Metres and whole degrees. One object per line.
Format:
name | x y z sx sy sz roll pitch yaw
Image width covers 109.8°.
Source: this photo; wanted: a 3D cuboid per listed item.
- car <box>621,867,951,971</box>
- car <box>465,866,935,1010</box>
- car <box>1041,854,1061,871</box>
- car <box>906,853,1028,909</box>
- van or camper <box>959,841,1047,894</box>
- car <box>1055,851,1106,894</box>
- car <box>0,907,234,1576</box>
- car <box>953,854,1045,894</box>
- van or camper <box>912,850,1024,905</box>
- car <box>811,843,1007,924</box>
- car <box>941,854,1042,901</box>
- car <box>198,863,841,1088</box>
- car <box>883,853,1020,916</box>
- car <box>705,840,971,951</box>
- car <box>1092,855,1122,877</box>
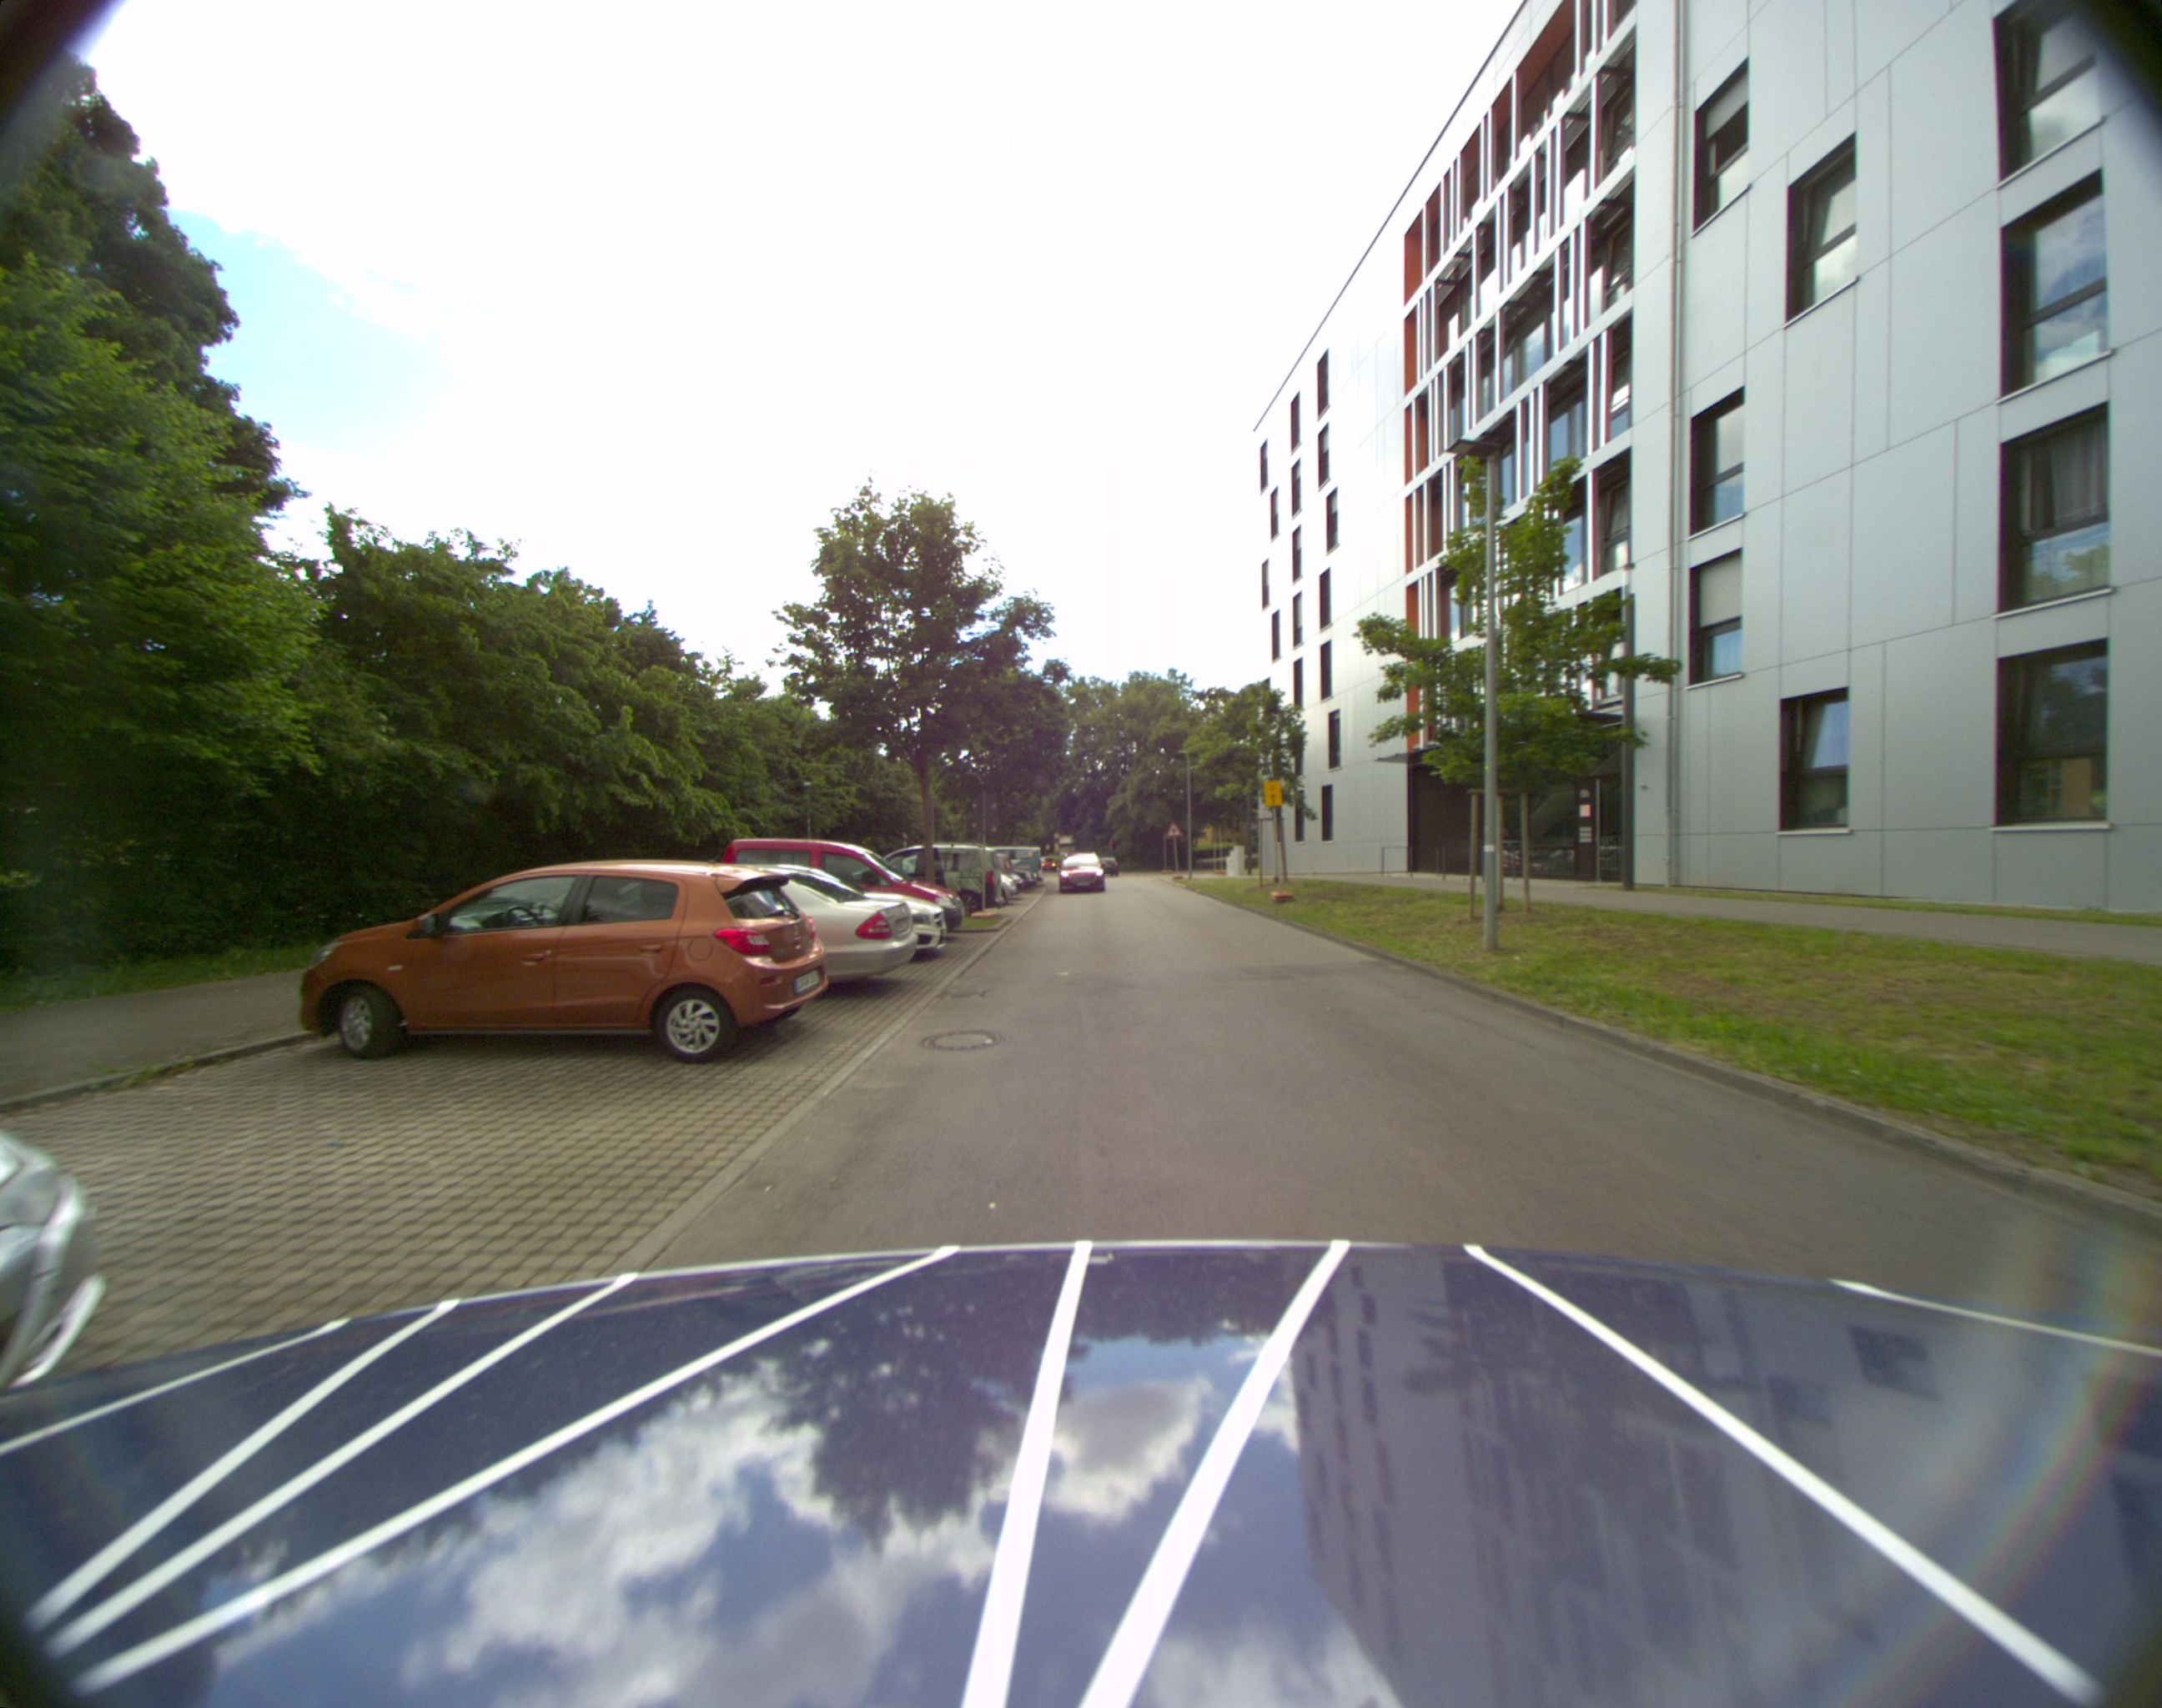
car | -4.276 0.921 11.553 4.292 1.401 1.837 0 0 -2
car | -4.071 0.880 8.734 4.407 1.427 1.944 0 0 0
car | -2.930 0.827 73.422 1.818 1.608 3.998 0 0 -4
car | -3.941 0.917 26.838 3.979 1.722 1.884 -3 0 -2
van or camper | -3.719 0.648 36.856 3.979 2.306 1.884 -3 1 -2
car | -0.002 0.732 32.442 1.933 1.622 4.242 -3 1 0
car | -4.796 0.920 1.289 4.489 1.553 1.911 1 0 -2
car | -3.667 0.898 34.554 3.979 1.594 2.105 -1 3 -2
van or camper | -4.305 0.870 29.393 3.979 1.862 1.728 -3 1 -2
car | -4.245 0.715 19.342 4.562 1.888 1.884 1 0 -2
car | -3.718 0.961 31.997 3.979 1.722 1.884 -3 0 -2
car | -4.362 0.884 6.341 4.157 1.582 1.677 0 0 2
car | -4.031 0.931 24.149 3.979 1.722 1.884 -3 0 -2
car | -4.281 0.702 13.943 4.292 1.881 1.837 0 0 -2
car | 1.753 0.800 52.664 1.674 1.383 3.998 -3 1 -4
